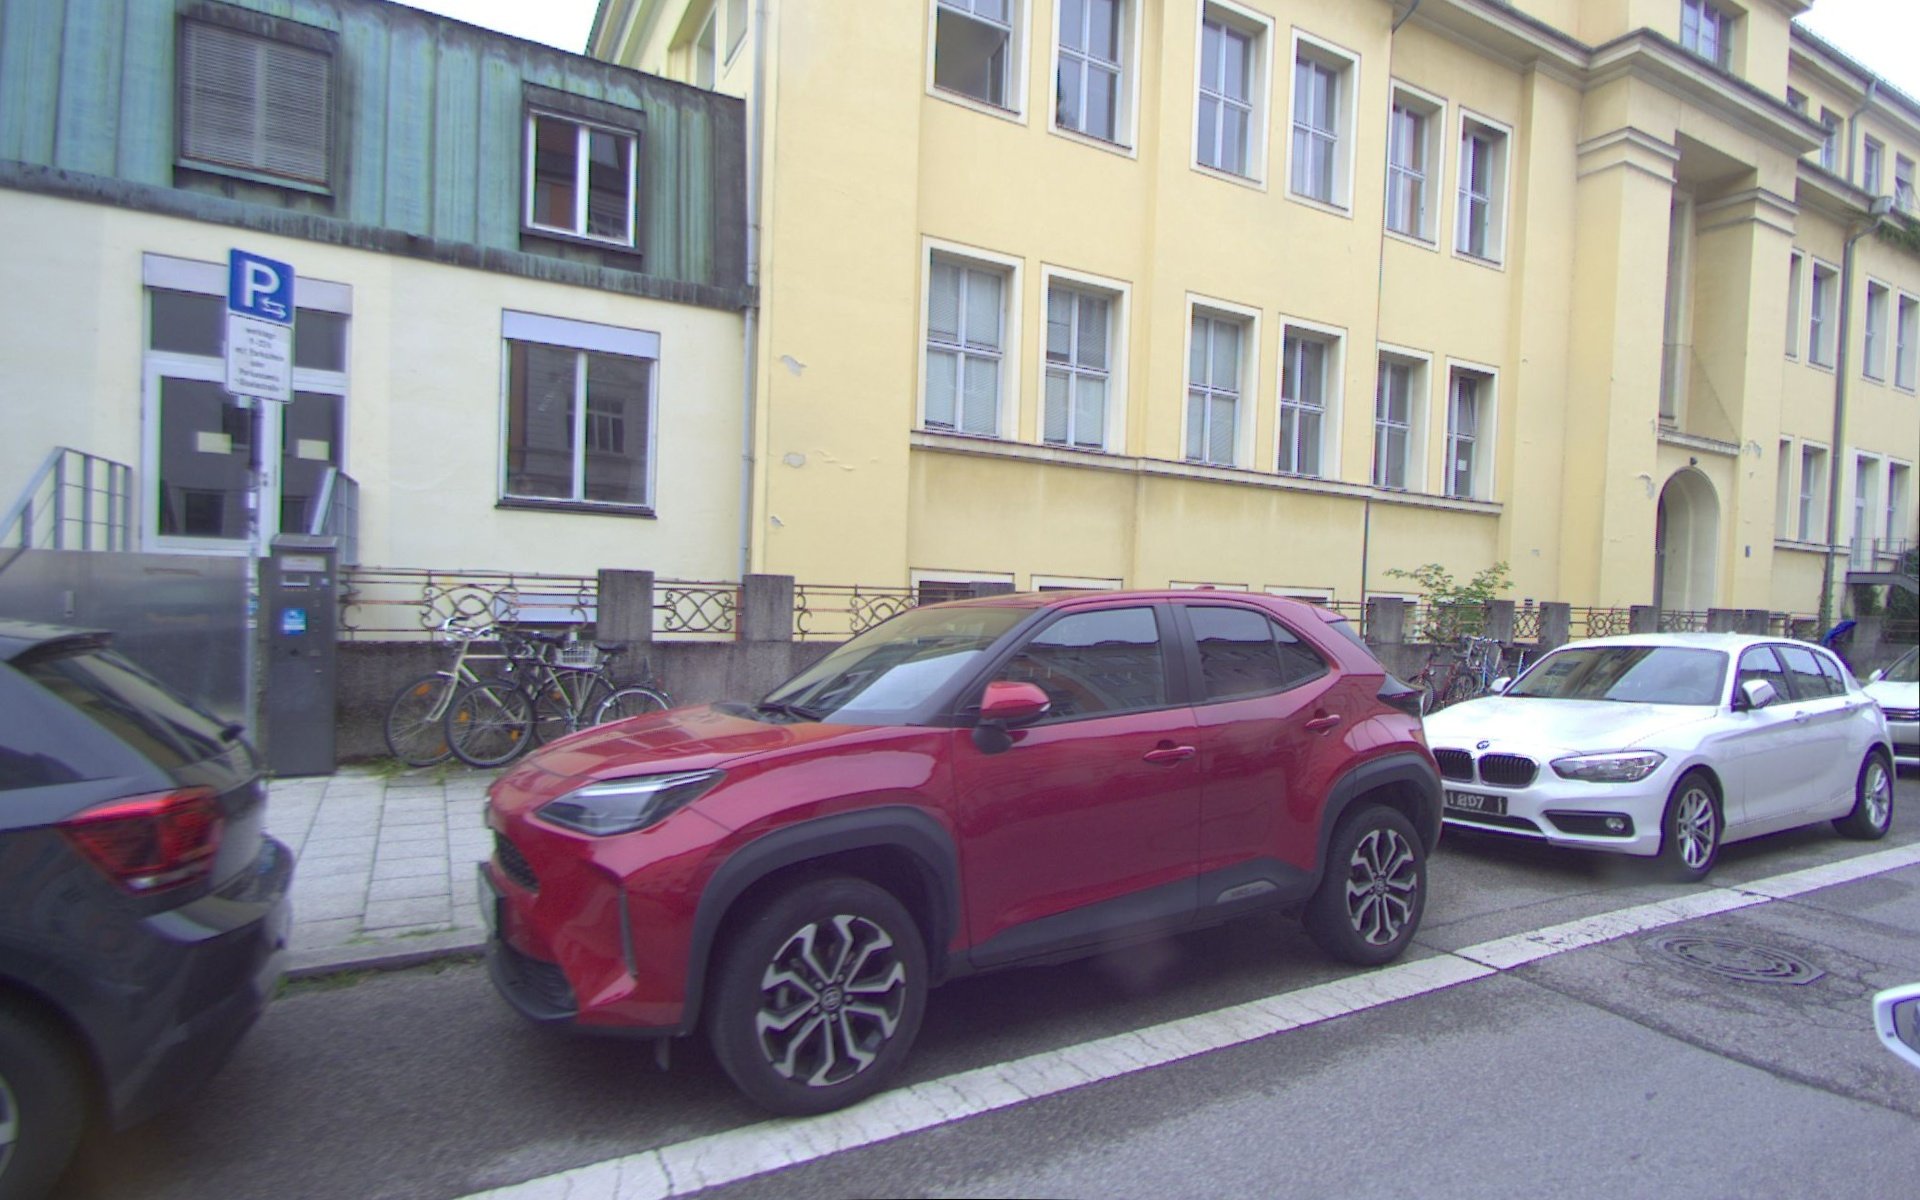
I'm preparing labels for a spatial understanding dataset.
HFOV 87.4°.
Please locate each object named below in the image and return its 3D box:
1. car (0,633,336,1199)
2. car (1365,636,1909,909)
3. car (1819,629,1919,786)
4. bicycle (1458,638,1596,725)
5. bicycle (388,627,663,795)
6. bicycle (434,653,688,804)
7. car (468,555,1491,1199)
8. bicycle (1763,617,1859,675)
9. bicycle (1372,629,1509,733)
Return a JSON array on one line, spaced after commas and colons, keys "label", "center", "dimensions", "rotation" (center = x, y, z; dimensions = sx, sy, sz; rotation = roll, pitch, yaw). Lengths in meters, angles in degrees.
[{"label": "car", "center": [-3.604, 0.783, 2.015], "dimensions": [3.949, 1.423, 1.665], "rotation": [1, -3, -34]}, {"label": "car", "center": [4.802, 0.969, 7.000], "dimensions": [3.952, 1.416, 1.666], "rotation": [1, -3, -32]}, {"label": "car", "center": [11.267, 1.091, 10.833], "dimensions": [4.037, 1.547, 1.716], "rotation": [1, -3, -29]}, {"label": "bicycle", "center": [7.677, 1.093, 13.603], "dimensions": [1.689, 1.092, 0.585], "rotation": [2, 2, -17]}, {"label": "bicycle", "center": [-3.363, 0.827, 7.880], "dimensions": [1.912, 1.188, 0.422], "rotation": [1, 2, -26]}, {"label": "bicycle", "center": [-2.983, 0.929, 7.589], "dimensions": [1.717, 1.009, 0.453], "rotation": [1, 2, -26]}, {"label": "car", "center": [0.248, 0.758, 4.144], "dimensions": [3.952, 1.587, 1.666], "rotation": [1, -3, -32]}, {"label": "bicycle", "center": [19.960, 1.068, 23.585], "dimensions": [0.572, 1.205, 1.549], "rotation": [1, 3, -30]}, {"label": "bicycle", "center": [6.087, 1.004, 12.710], "dimensions": [1.694, 1.214, 0.584], "rotation": [1, 2, -26]}]
